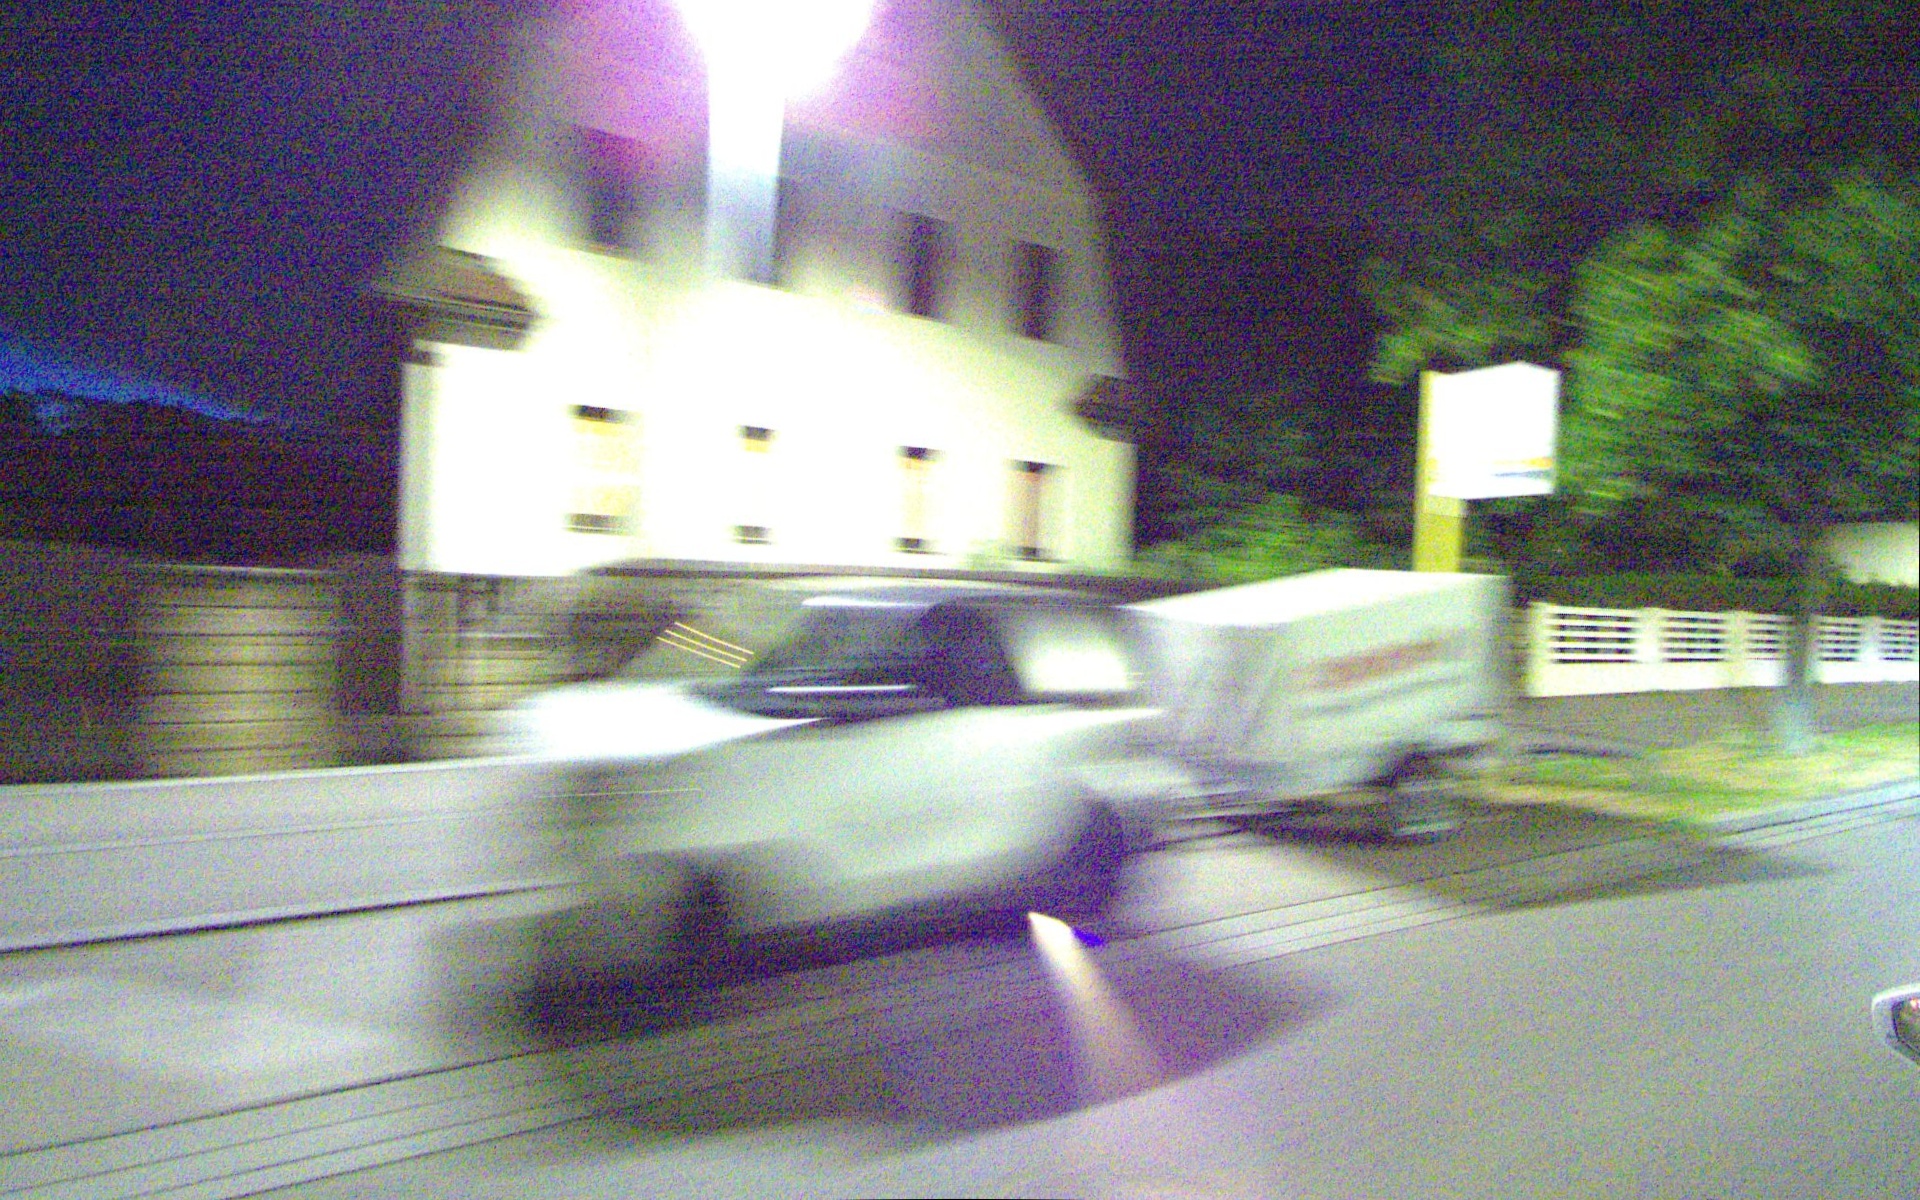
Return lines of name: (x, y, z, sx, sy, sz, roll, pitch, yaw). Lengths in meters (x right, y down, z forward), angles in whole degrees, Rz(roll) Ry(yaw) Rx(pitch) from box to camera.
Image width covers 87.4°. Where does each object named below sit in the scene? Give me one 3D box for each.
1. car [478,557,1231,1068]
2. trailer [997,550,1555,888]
car: (-0.466, 0.655, 4.561, 2.945, 1.542, 1.662, 1, 3, -32)
trailer: (2.091, 0.614, 6.527, 3.383, 1.711, 1.442, 1, 3, -28)
